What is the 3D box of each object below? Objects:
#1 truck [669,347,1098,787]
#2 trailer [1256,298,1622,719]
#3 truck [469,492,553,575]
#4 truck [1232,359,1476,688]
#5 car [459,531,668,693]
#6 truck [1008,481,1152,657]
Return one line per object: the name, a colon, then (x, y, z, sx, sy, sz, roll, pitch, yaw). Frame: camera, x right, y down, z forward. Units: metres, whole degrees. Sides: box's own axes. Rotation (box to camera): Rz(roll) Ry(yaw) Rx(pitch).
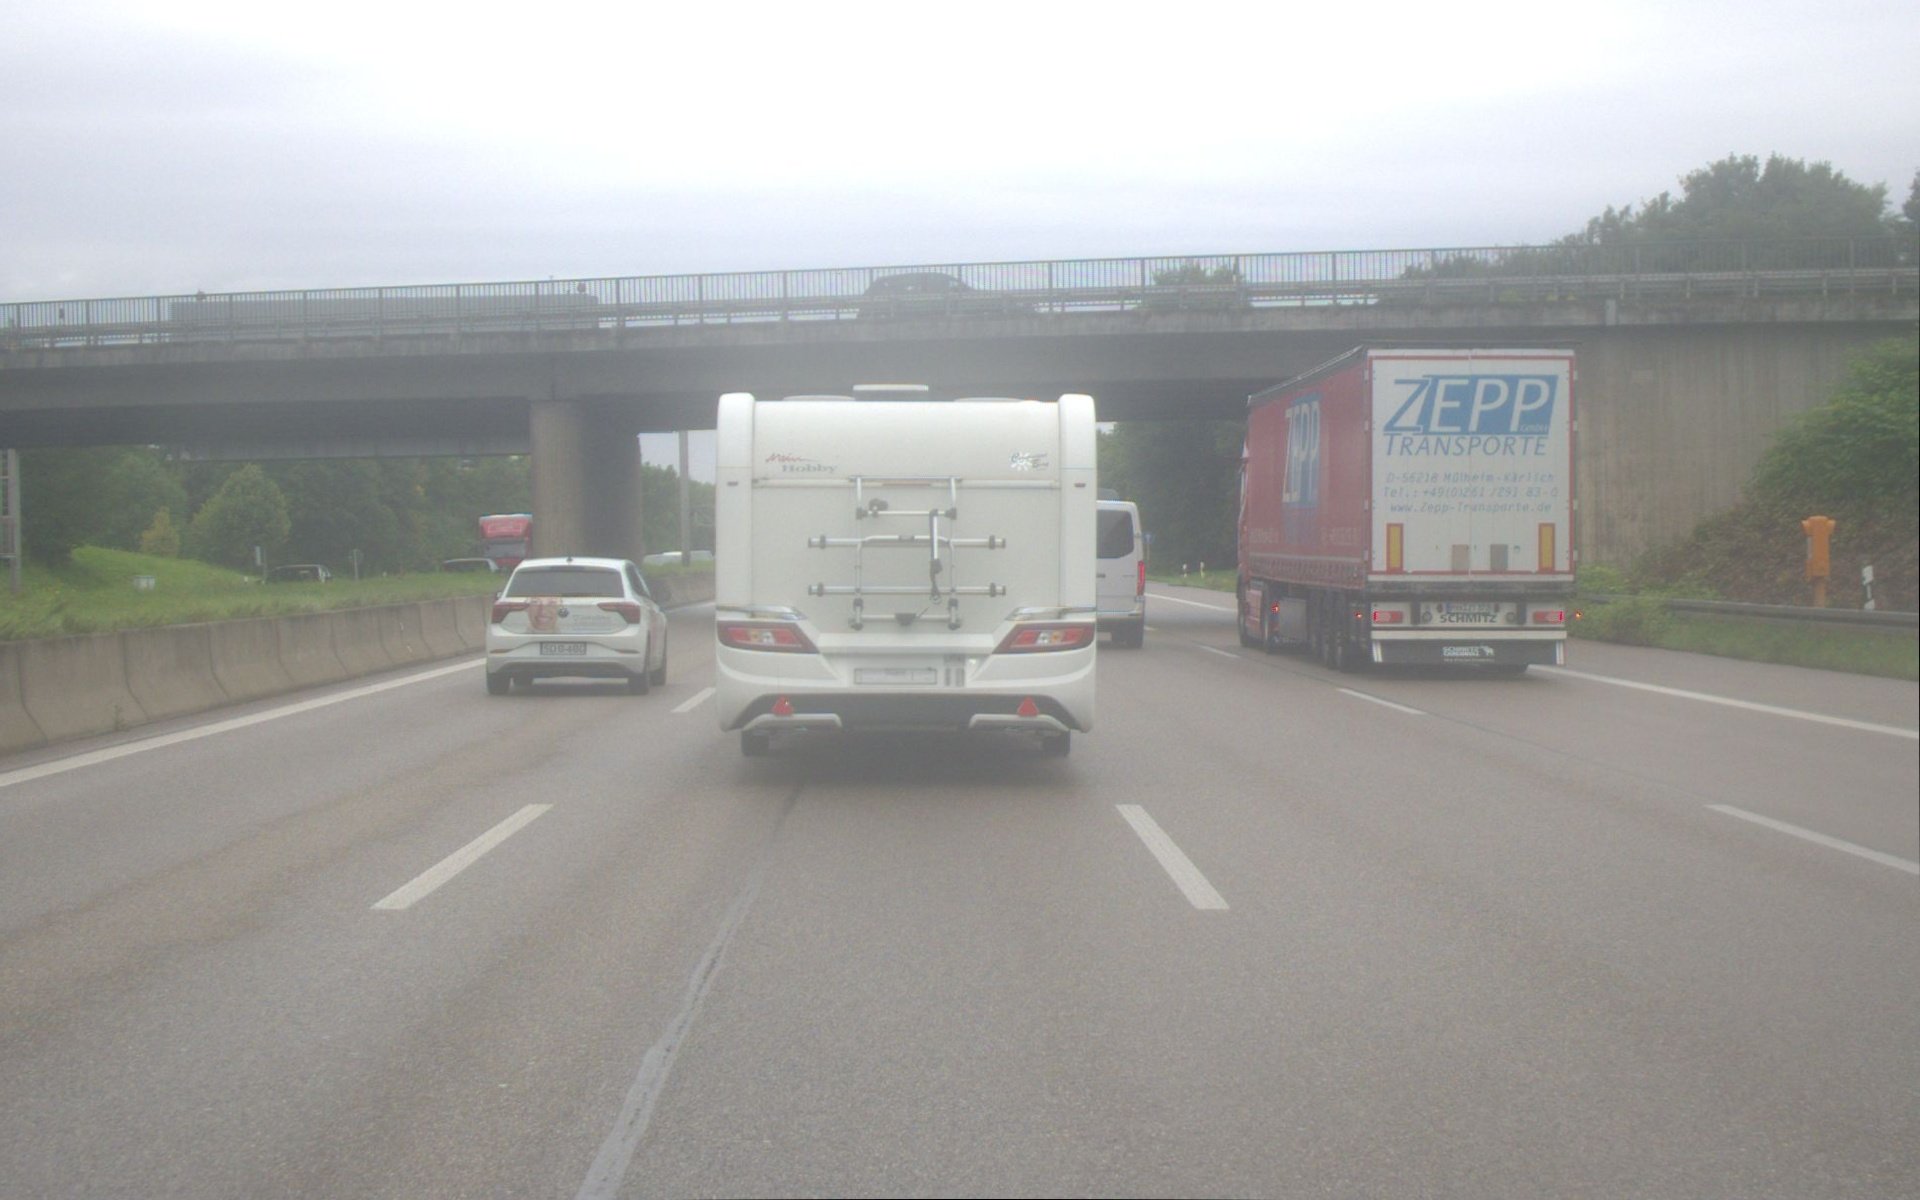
truck: (-0.523, -0.230, 24.151, 2.661, 2.733, 5.078, 1, 0, -1)
trailer: (6.135, -1.130, 46.311, 3.100, 4.905, 11.791, 1, 1, -1)
truck: (-21.618, -3.207, 166.116, 2.693, 3.838, 10.111, -1, 1, 0)
truck: (6.054, -1.160, 53.785, 3.048, 4.823, 5.850, 1, 0, 0)
car: (-4.233, 0.076, 37.340, 1.753, 1.612, 4.664, -1, 1, -1)
truck: (1.932, -0.515, 57.097, 2.053, 2.760, 5.549, 1, 1, -1)
